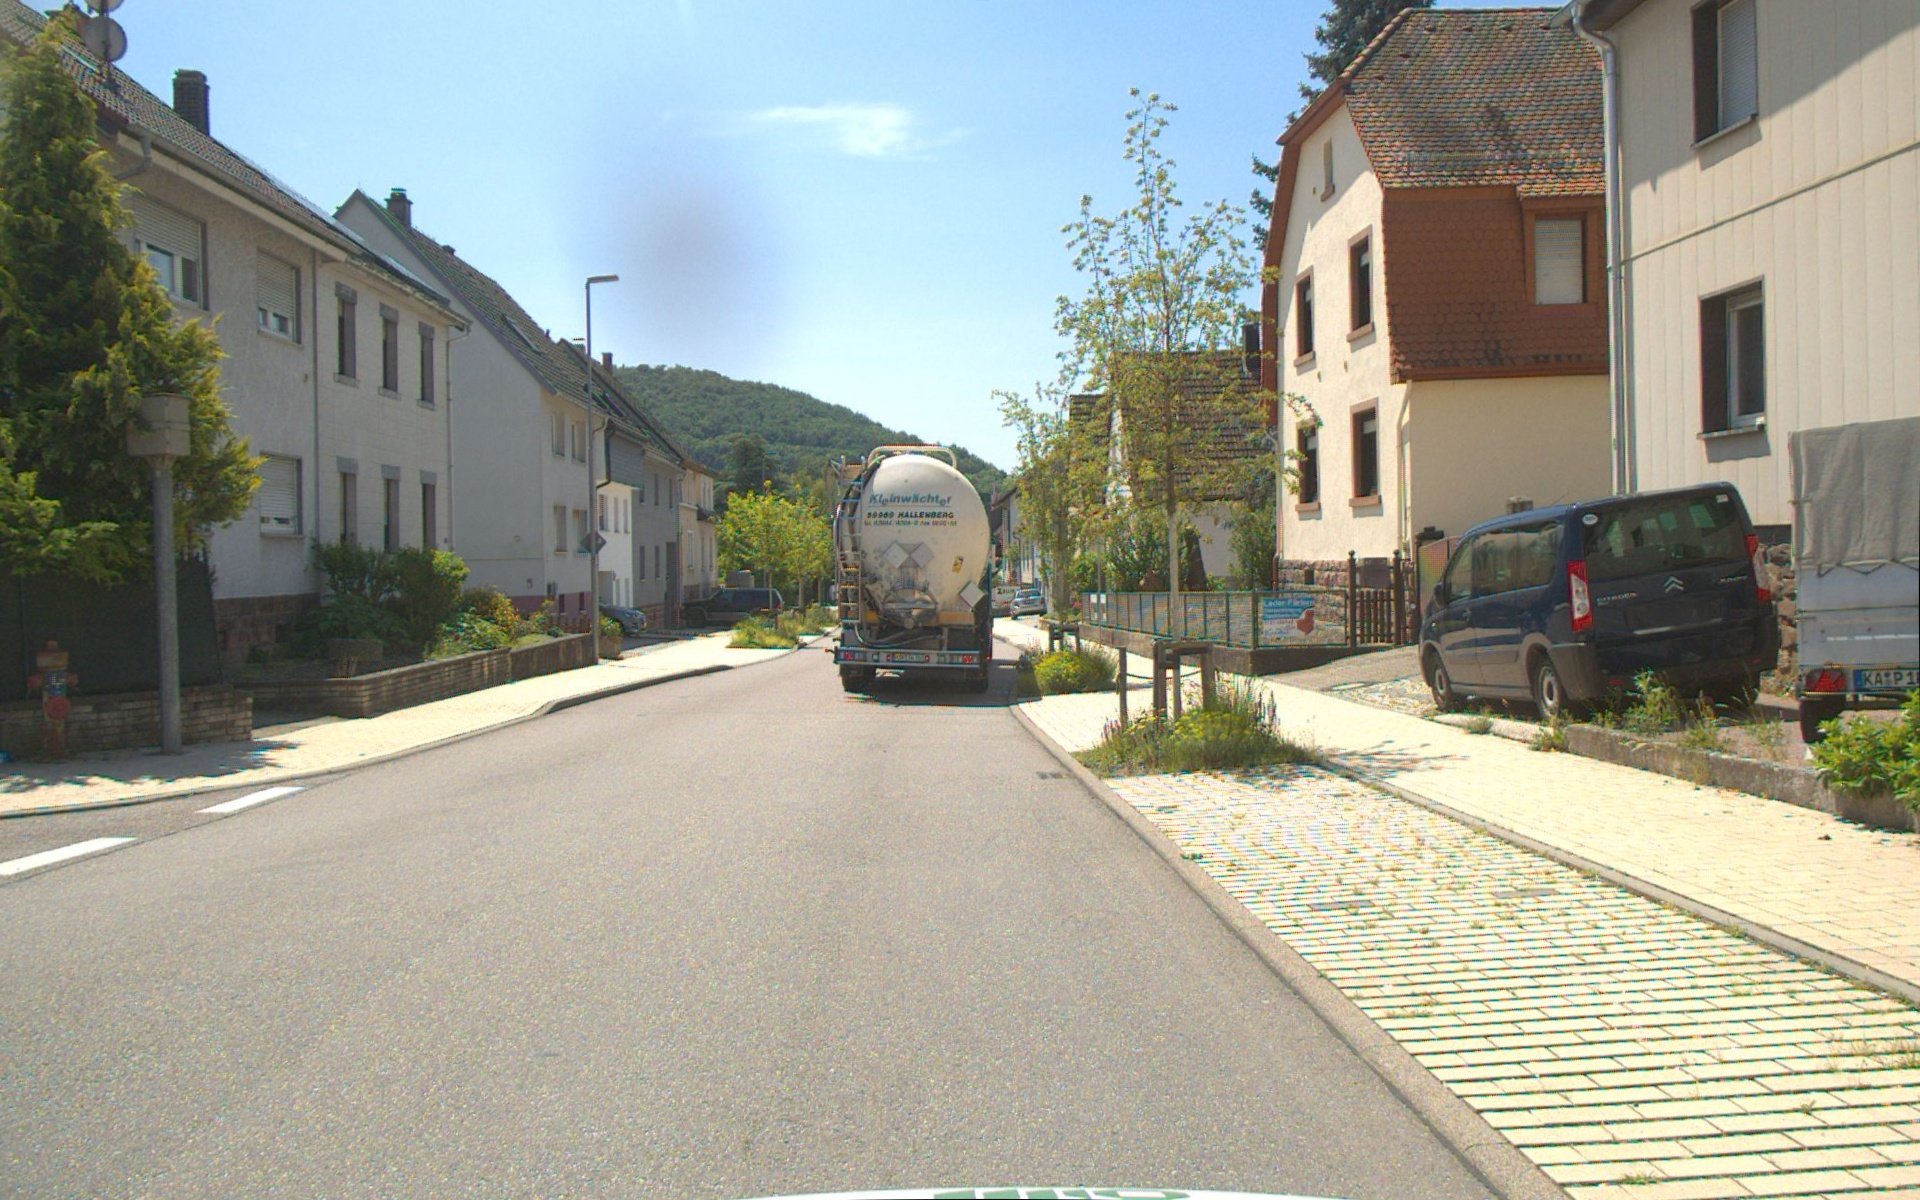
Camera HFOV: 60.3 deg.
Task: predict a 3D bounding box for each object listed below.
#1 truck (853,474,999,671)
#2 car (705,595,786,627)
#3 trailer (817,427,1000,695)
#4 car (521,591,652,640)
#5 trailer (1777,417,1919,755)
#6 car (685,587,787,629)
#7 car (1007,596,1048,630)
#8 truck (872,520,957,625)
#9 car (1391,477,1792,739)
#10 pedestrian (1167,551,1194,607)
[{"bbox_3d":[-0.631,-0.572,37.117,2.749,4.006,6.101,1,0,3],"label":"truck"},{"bbox_3d":[-10.052,0.507,77.426,3.476,1.464,1.694,0,0,32],"label":"car"},{"bbox_3d":[-0.773,-0.598,30.521,2.739,4.071,10.323,1,0,0],"label":"trailer"},{"bbox_3d":[-12.251,0.508,54.444,3.906,1.572,1.832,0,0,-2],"label":"car"},{"bbox_3d":[6.426,-0.084,10.995,1.300,2.049,2.261,0,0,40],"label":"trailer"},{"bbox_3d":[-9.872,0.349,73.200,4.307,1.781,1.877,0,0,-3],"label":"car"},{"bbox_3d":[3.417,0.643,84.173,1.754,1.568,4.519,-3,0,-1],"label":"car"},{"bbox_3d":[-2.481,-1.352,85.331,3.833,4.981,9.787,-2,0,-4],"label":"truck"},{"bbox_3d":[5.821,0.067,15.988,1.815,2.005,4.772,-5,0,-1],"label":"car"},{"bbox_3d":[6.721,-0.646,50.401,0.592,1.643,0.552,-5,0,-2],"label":"pedestrian"}]
